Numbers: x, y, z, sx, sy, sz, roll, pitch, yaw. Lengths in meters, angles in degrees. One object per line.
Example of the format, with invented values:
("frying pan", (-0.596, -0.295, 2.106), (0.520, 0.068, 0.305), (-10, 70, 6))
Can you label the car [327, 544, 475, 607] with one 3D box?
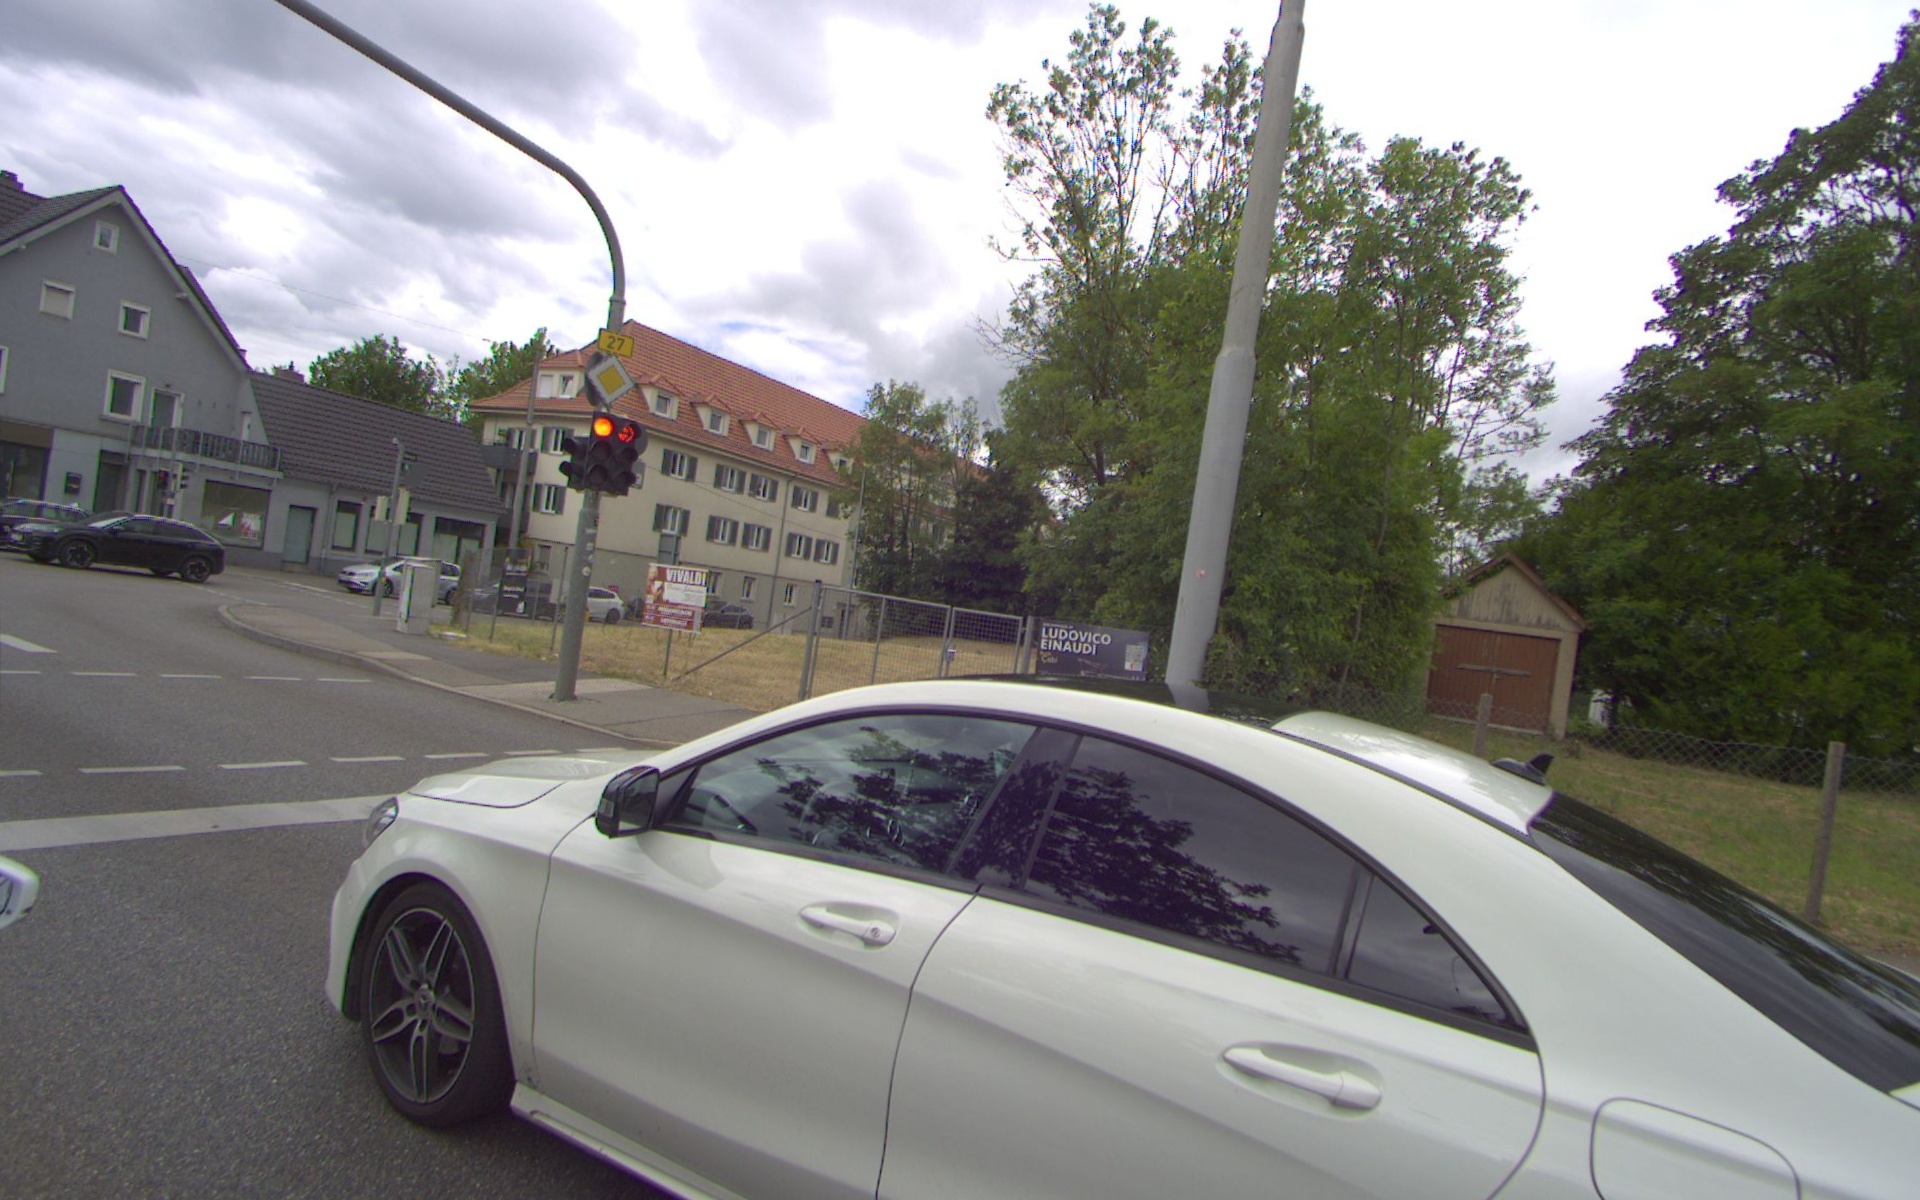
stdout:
("car", (-19.748, -0.833, 35.679), (1.798, 1.557, 4.111), (7, -3, 31))

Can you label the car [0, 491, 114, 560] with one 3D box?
("car", (-25.277, -2.108, 26.498), (1.862, 1.512, 4.096), (7, -1, 26))

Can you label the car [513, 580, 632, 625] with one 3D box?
("car", (-16.238, 0.135, 42.379), (1.967, 1.496, 4.244), (7, 1, 32))

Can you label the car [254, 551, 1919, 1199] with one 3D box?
("car", (0.158, 0.847, 2.642), (4.305, 1.451, 1.651), (7, 0, 32))

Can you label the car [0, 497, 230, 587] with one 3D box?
("car", (-21.478, -1.418, 25.744), (1.807, 1.538, 4.074), (7, -2, 23))

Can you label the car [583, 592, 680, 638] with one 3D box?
("car", (-15.518, 0.739, 47.663), (1.839, 1.554, 3.996), (7, -2, 32))

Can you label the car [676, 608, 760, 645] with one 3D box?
("car", (-12.623, 1.401, 52.651), (1.839, 1.393, 3.996), (7, -2, 32))
